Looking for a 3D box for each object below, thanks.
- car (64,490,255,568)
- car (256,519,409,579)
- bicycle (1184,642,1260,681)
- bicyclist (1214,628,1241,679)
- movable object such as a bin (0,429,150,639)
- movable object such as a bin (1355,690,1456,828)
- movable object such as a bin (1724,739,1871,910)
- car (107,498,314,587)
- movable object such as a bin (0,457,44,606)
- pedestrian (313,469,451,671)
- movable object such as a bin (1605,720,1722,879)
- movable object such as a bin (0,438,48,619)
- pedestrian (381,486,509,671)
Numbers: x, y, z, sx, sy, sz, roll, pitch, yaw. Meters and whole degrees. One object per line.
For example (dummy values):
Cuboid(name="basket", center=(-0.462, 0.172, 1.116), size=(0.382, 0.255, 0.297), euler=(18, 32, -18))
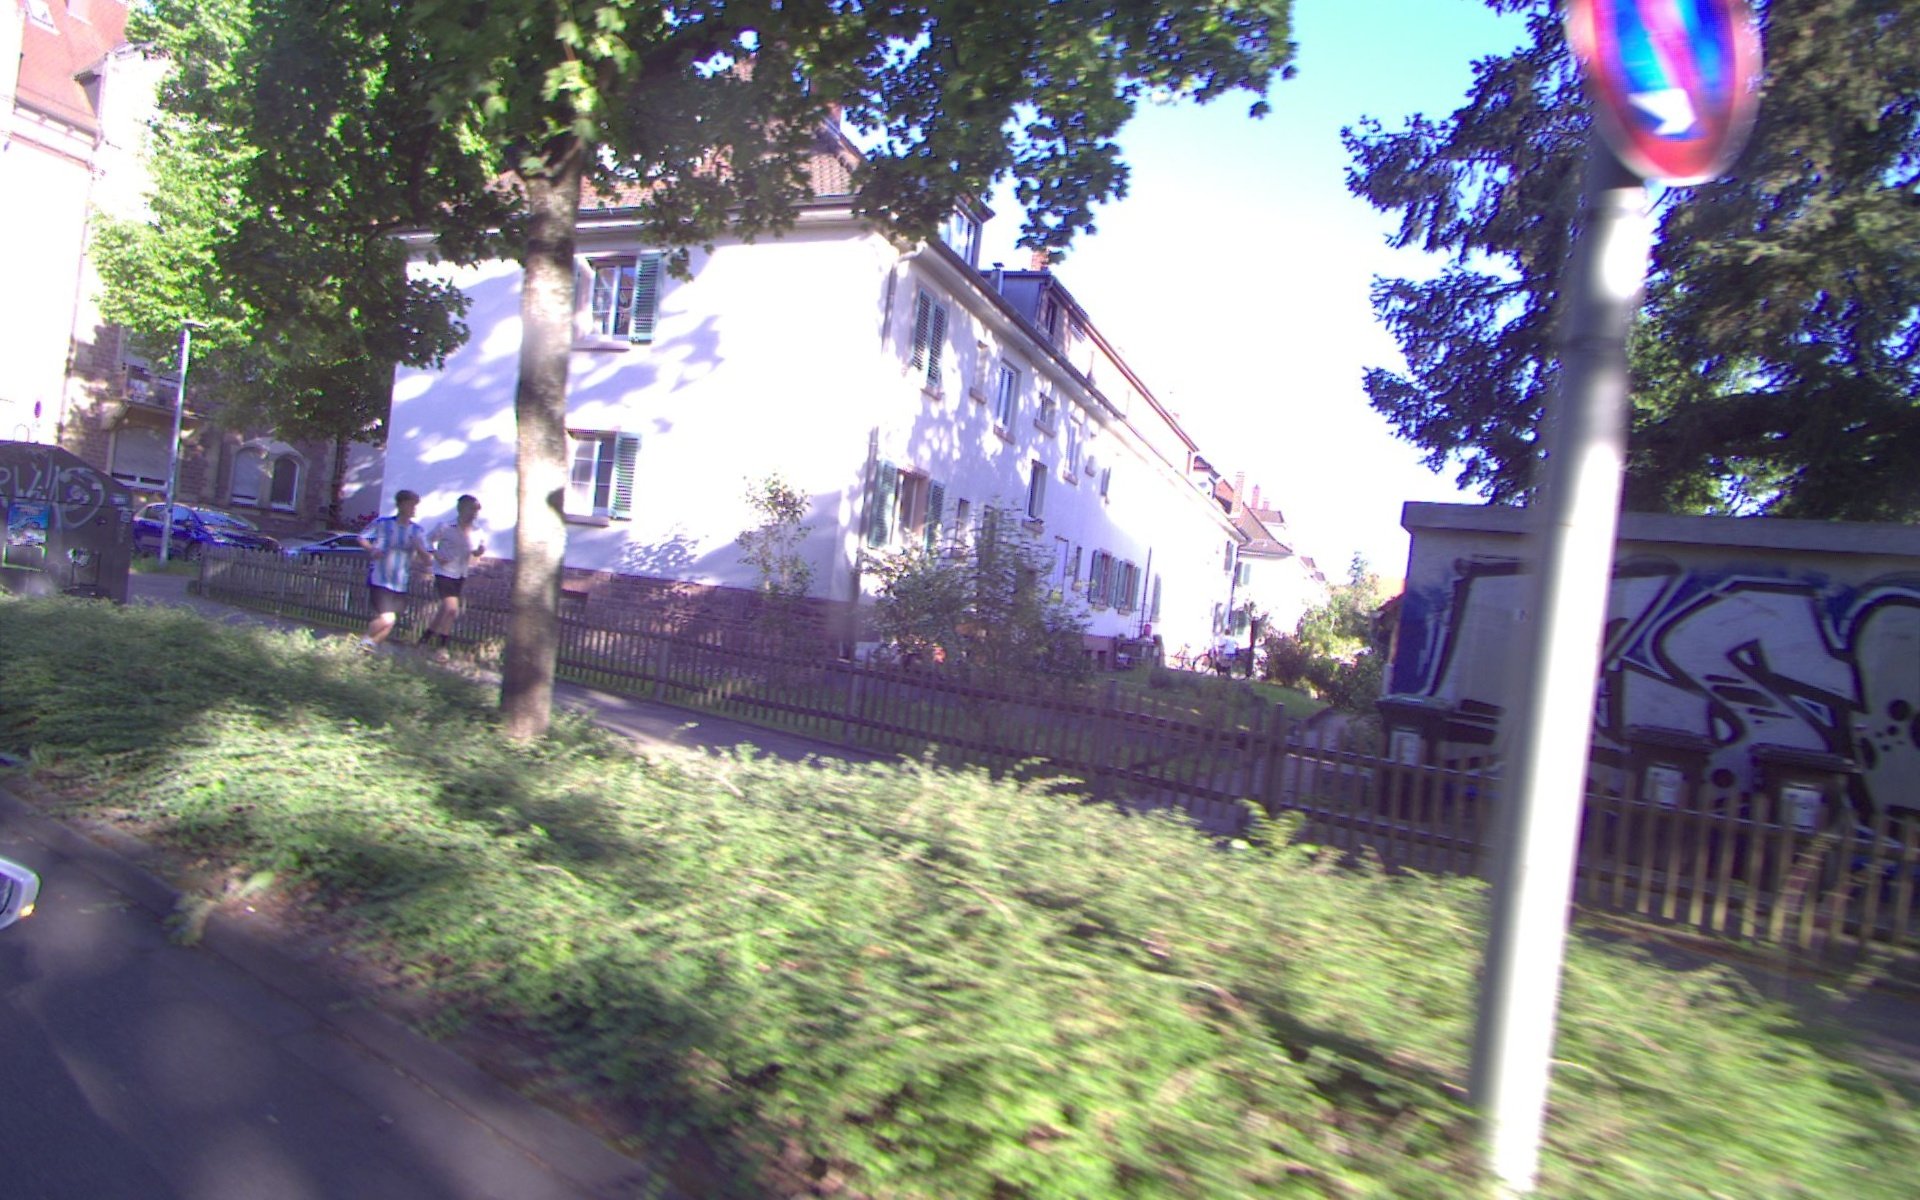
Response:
Cuboid(name="car", center=(-24.861, -2.156, 31.451), size=(1.703, 1.640, 4.261), euler=(8, -2, 22))
Cuboid(name="car", center=(-22.615, -1.813, 36.488), size=(1.703, 1.517, 4.455), euler=(8, 0, 22))
Cuboid(name="bicycle", center=(8.292, 1.943, 31.806), size=(2.188, 0.959, 0.602), euler=(7, -1, 19))
Cuboid(name="bicyclist", center=(8.397, 1.670, 31.525), size=(0.616, 1.506, 0.602), euler=(7, -1, 19))
Cuboid(name="movable object such as a bin", center=(-9.487, -0.693, 9.836), size=(1.370, 1.875, 1.924), euler=(7, -2, 31))
Cuboid(name="movable object such as a bin", center=(3.854, 1.344, 8.689), size=(0.634, 1.043, 0.643), euler=(7, 1, 30))
Cuboid(name="movable object such as a bin", center=(6.094, 1.606, 7.357), size=(0.630, 1.043, 0.606), euler=(7, 1, 30))
Cuboid(name="car", center=(-17.452, -1.334, 23.457), size=(3.927, 1.573, 2.001), euler=(5, -2, 22))
Cuboid(name="movable object such as a bin", center=(-11.905, -0.914, 11.495), size=(1.612, 1.676, 1.589), euler=(7, -2, 31))
Cuboid(name="pedestrian", center=(-5.863, -0.299, 10.215), size=(0.880, 1.916, 0.674), euler=(7, -1, 32))
Cuboid(name="movable object such as a bin", center=(5.392, 1.506, 7.747), size=(0.585, 1.043, 0.615), euler=(7, 1, 30))
Cuboid(name="movable object such as a bin", center=(-10.697, -0.834, 10.572), size=(1.363, 1.849, 1.149), euler=(7, -1, 31))
Cuboid(name="pedestrian", center=(-5.744, -0.239, 11.226), size=(1.001, 1.916, 0.643), euler=(7, -1, 32))
